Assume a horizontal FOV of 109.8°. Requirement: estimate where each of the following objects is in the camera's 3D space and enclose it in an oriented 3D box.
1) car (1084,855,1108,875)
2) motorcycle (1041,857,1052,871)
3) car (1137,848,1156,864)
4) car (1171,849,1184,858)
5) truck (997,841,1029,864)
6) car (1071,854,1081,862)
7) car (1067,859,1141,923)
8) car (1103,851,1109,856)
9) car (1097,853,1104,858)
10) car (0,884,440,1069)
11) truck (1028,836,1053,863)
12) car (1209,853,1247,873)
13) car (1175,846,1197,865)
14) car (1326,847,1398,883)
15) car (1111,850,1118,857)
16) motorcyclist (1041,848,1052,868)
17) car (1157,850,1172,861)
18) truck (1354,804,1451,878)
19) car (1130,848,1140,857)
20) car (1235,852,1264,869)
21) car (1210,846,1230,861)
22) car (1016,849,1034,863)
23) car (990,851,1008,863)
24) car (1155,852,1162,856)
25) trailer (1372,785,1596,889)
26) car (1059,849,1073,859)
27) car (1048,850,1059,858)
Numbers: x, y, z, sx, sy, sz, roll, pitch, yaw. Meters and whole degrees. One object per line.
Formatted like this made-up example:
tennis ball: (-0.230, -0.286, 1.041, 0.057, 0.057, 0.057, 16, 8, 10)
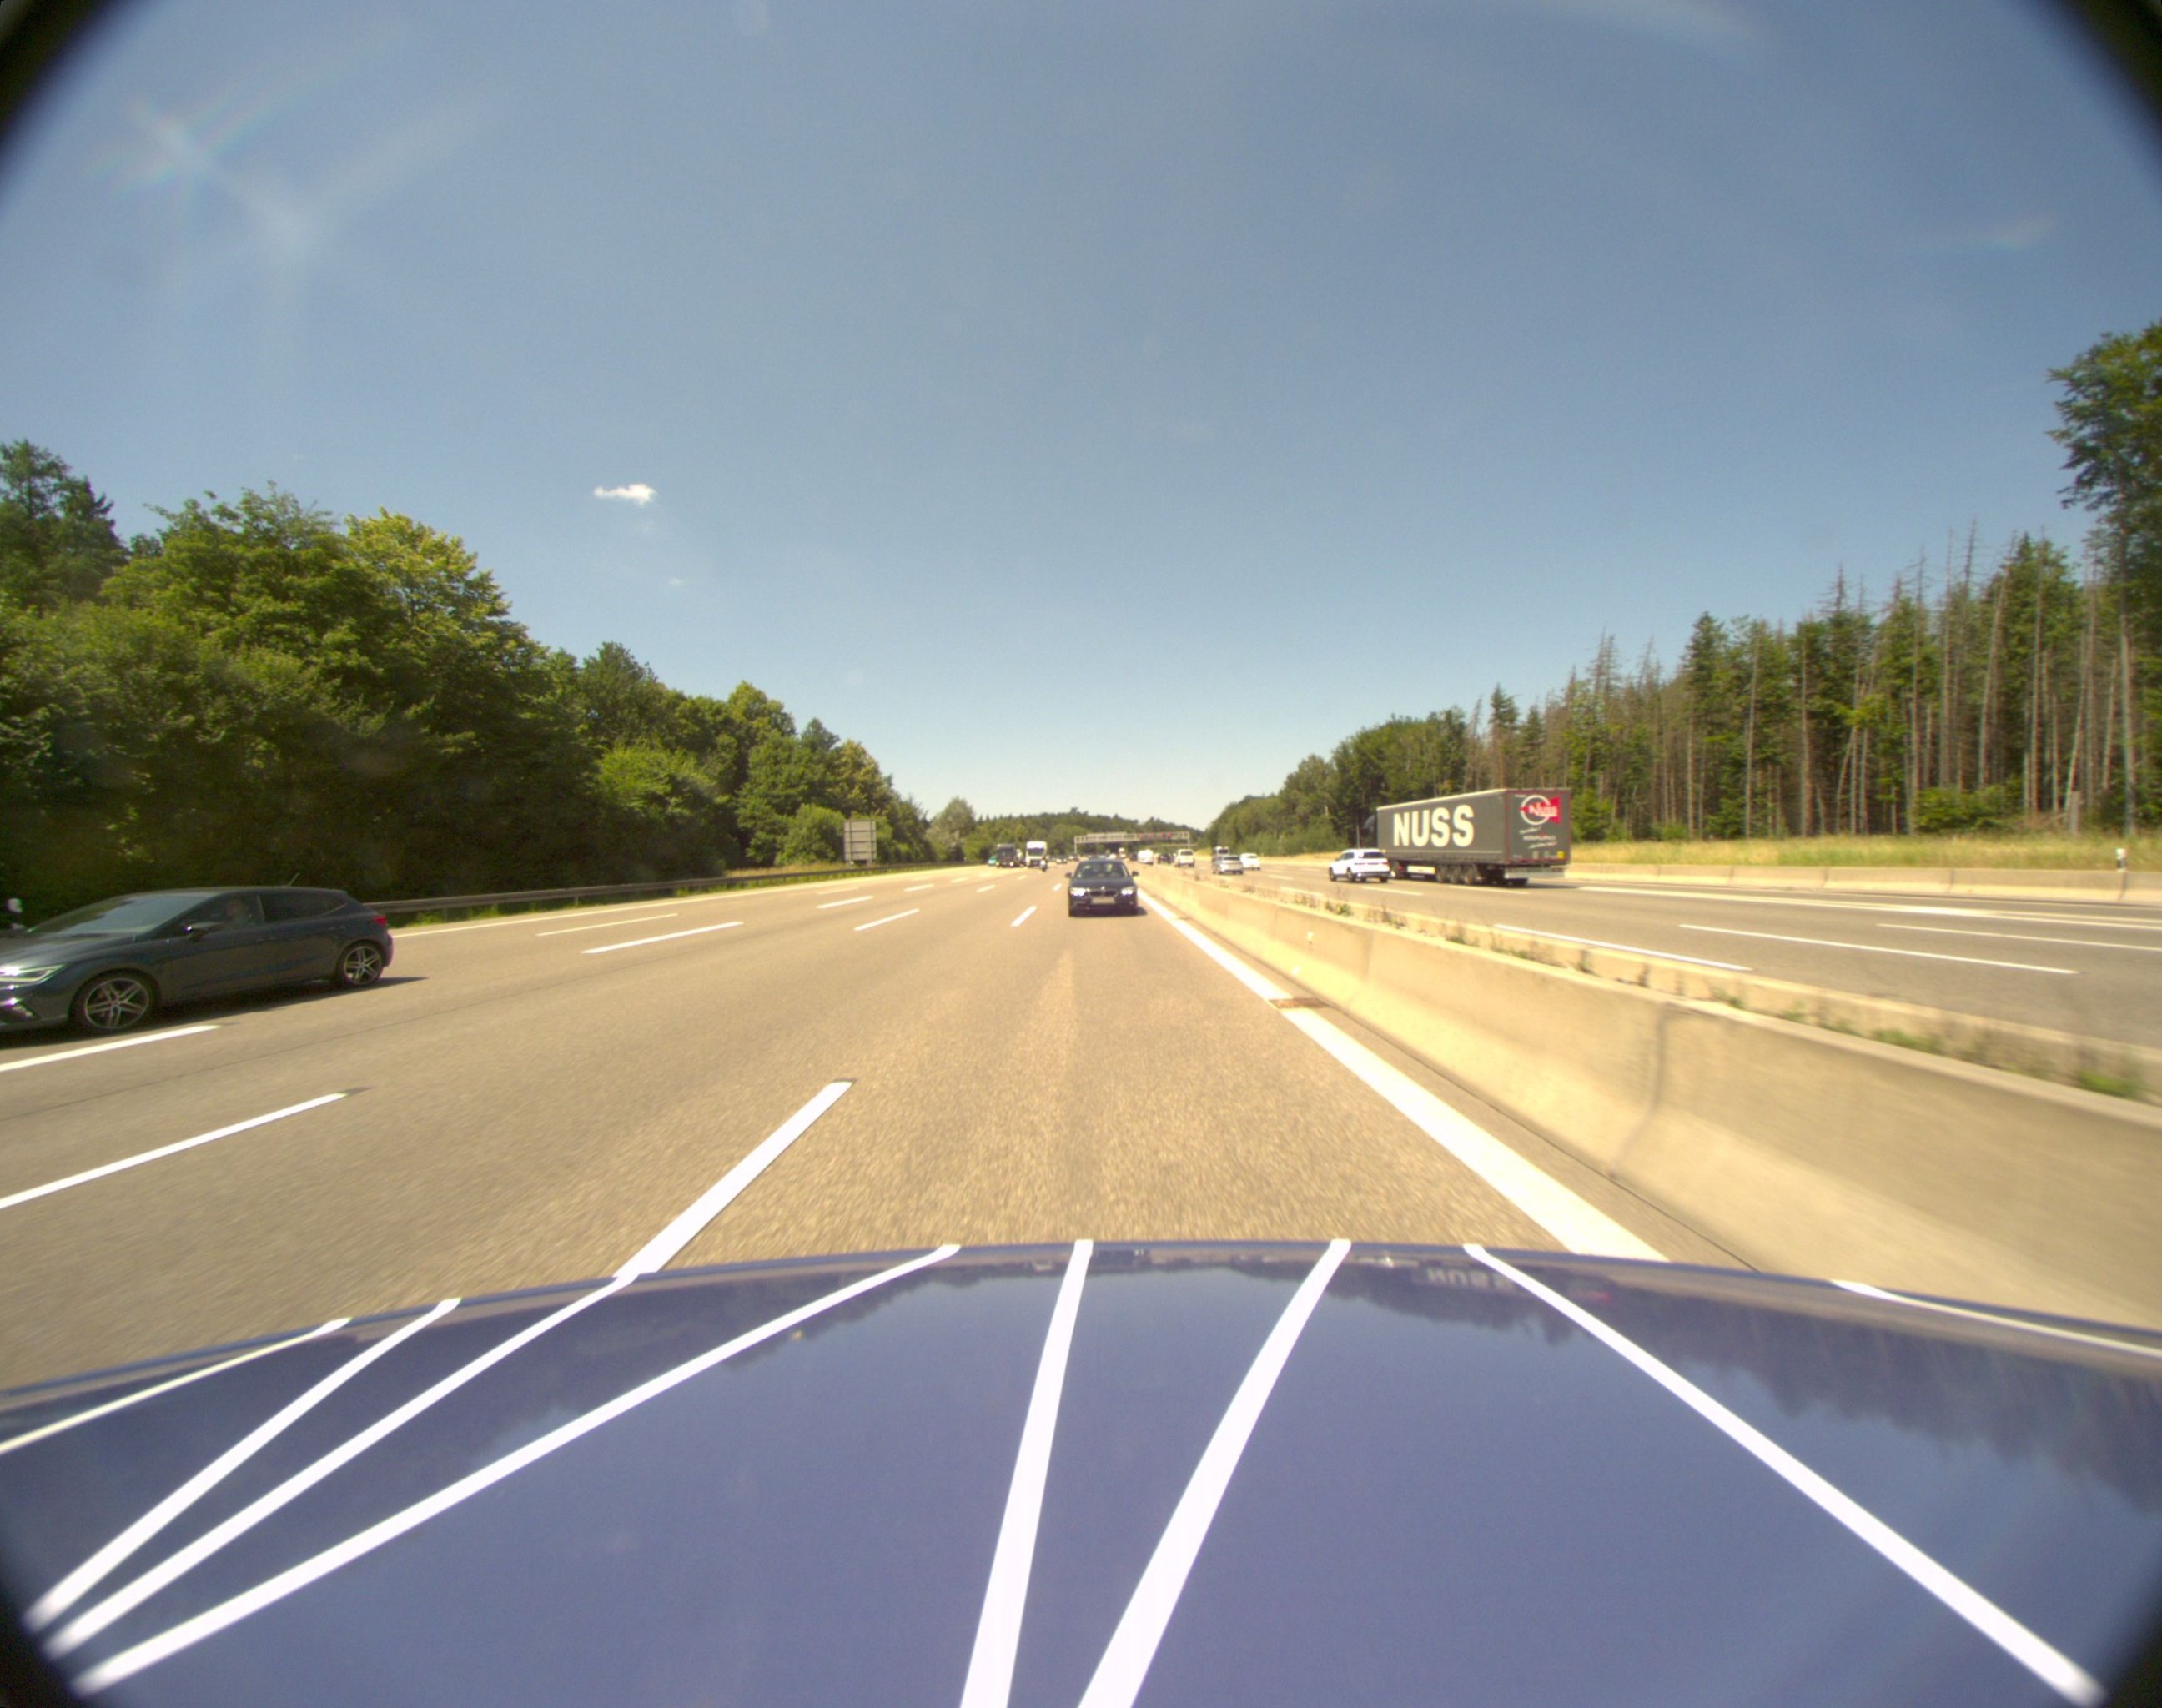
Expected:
car: (1.158, 0.824, 60.223, 1.834, 1.454, 4.204, -1, 1, 1)
motorcycle: (-3.369, 0.950, 74.903, 0.925, 1.311, 2.998, -2, 0, 1)
car: (8.403, 0.222, 97.812, 2.082, 2.032, 5.711, -1, 0, 1)
car: (16.804, -0.119, 132.243, 1.734, 1.561, 4.673, -1, 0, 1)
truck: (-8.683, -0.241, 98.133, 2.660, 2.839, 10.886, -1, 1, 3)
car: (-1.184, 0.819, 172.916, 1.998, 1.671, 4.127, -1, 1, 2)
car: (0.609, 0.900, 20.590, 1.741, 1.450, 4.542, -2, 0, 2)
car: (8.200, -0.260, 249.539, 1.910, 1.450, 4.127, -1, 1, 2)
car: (5.996, 0.341, 230.018, 1.910, 1.450, 4.127, -1, 1, 2)
car: (-10.536, 1.221, 9.116, 1.647, 1.430, 4.635, -2, 1, 1)
truck: (-5.061, -0.616, 96.215, 2.428, 3.237, 8.690, -1, 1, 2)
car: (10.861, 0.624, 56.439, 1.998, 1.369, 5.010, -1, 1, 1)
car: (12.008, 0.160, 87.254, 1.998, 2.002, 5.129, -1, 1, 1)
car: (14.108, 0.522, 38.476, 1.998, 1.661, 4.612, -1, 0, 1)
car: (10.884, -0.116, 246.337, 1.998, 1.935, 4.128, -2, 0, 4)
motorcyclist: (-3.378, 0.390, 74.584, 0.914, 1.926, 0.905, -2, 1, 1)
car: (13.050, 0.238, 118.577, 1.832, 1.689, 5.003, -1, 0, 1)
truck: (18.440, -0.709, 43.973, 3.296, 3.908, 5.539, -1, 1, 1)
car: (11.420, -0.328, 161.148, 1.854, 1.668, 5.044, -1, 0, 1)
car: (15.394, 0.577, 69.595, 1.809, 1.477, 3.810, -1, 0, 1)
car: (21.927, -0.092, 120.295, 1.953, 2.398, 6.345, -1, 0, 0)
car: (-7.951, 0.243, 108.664, 1.998, 1.885, 4.870, -1, 1, 3)
car: (-11.857, 0.374, 110.578, 1.998, 1.671, 4.127, -1, 1, 2)
car: (24.776, -0.053, 242.228, 1.734, 1.455, 4.784, -1, 0, 1)
trailer: (18.383, -0.710, 36.627, 3.350, 3.978, 14.278, -1, 0, 1)
car: (-2.579, -0.008, 131.407, 1.998, 1.671, 4.127, -1, 1, 2)
car: (-5.820, -0.041, 161.355, 1.998, 1.671, 4.127, -1, 1, 3)
